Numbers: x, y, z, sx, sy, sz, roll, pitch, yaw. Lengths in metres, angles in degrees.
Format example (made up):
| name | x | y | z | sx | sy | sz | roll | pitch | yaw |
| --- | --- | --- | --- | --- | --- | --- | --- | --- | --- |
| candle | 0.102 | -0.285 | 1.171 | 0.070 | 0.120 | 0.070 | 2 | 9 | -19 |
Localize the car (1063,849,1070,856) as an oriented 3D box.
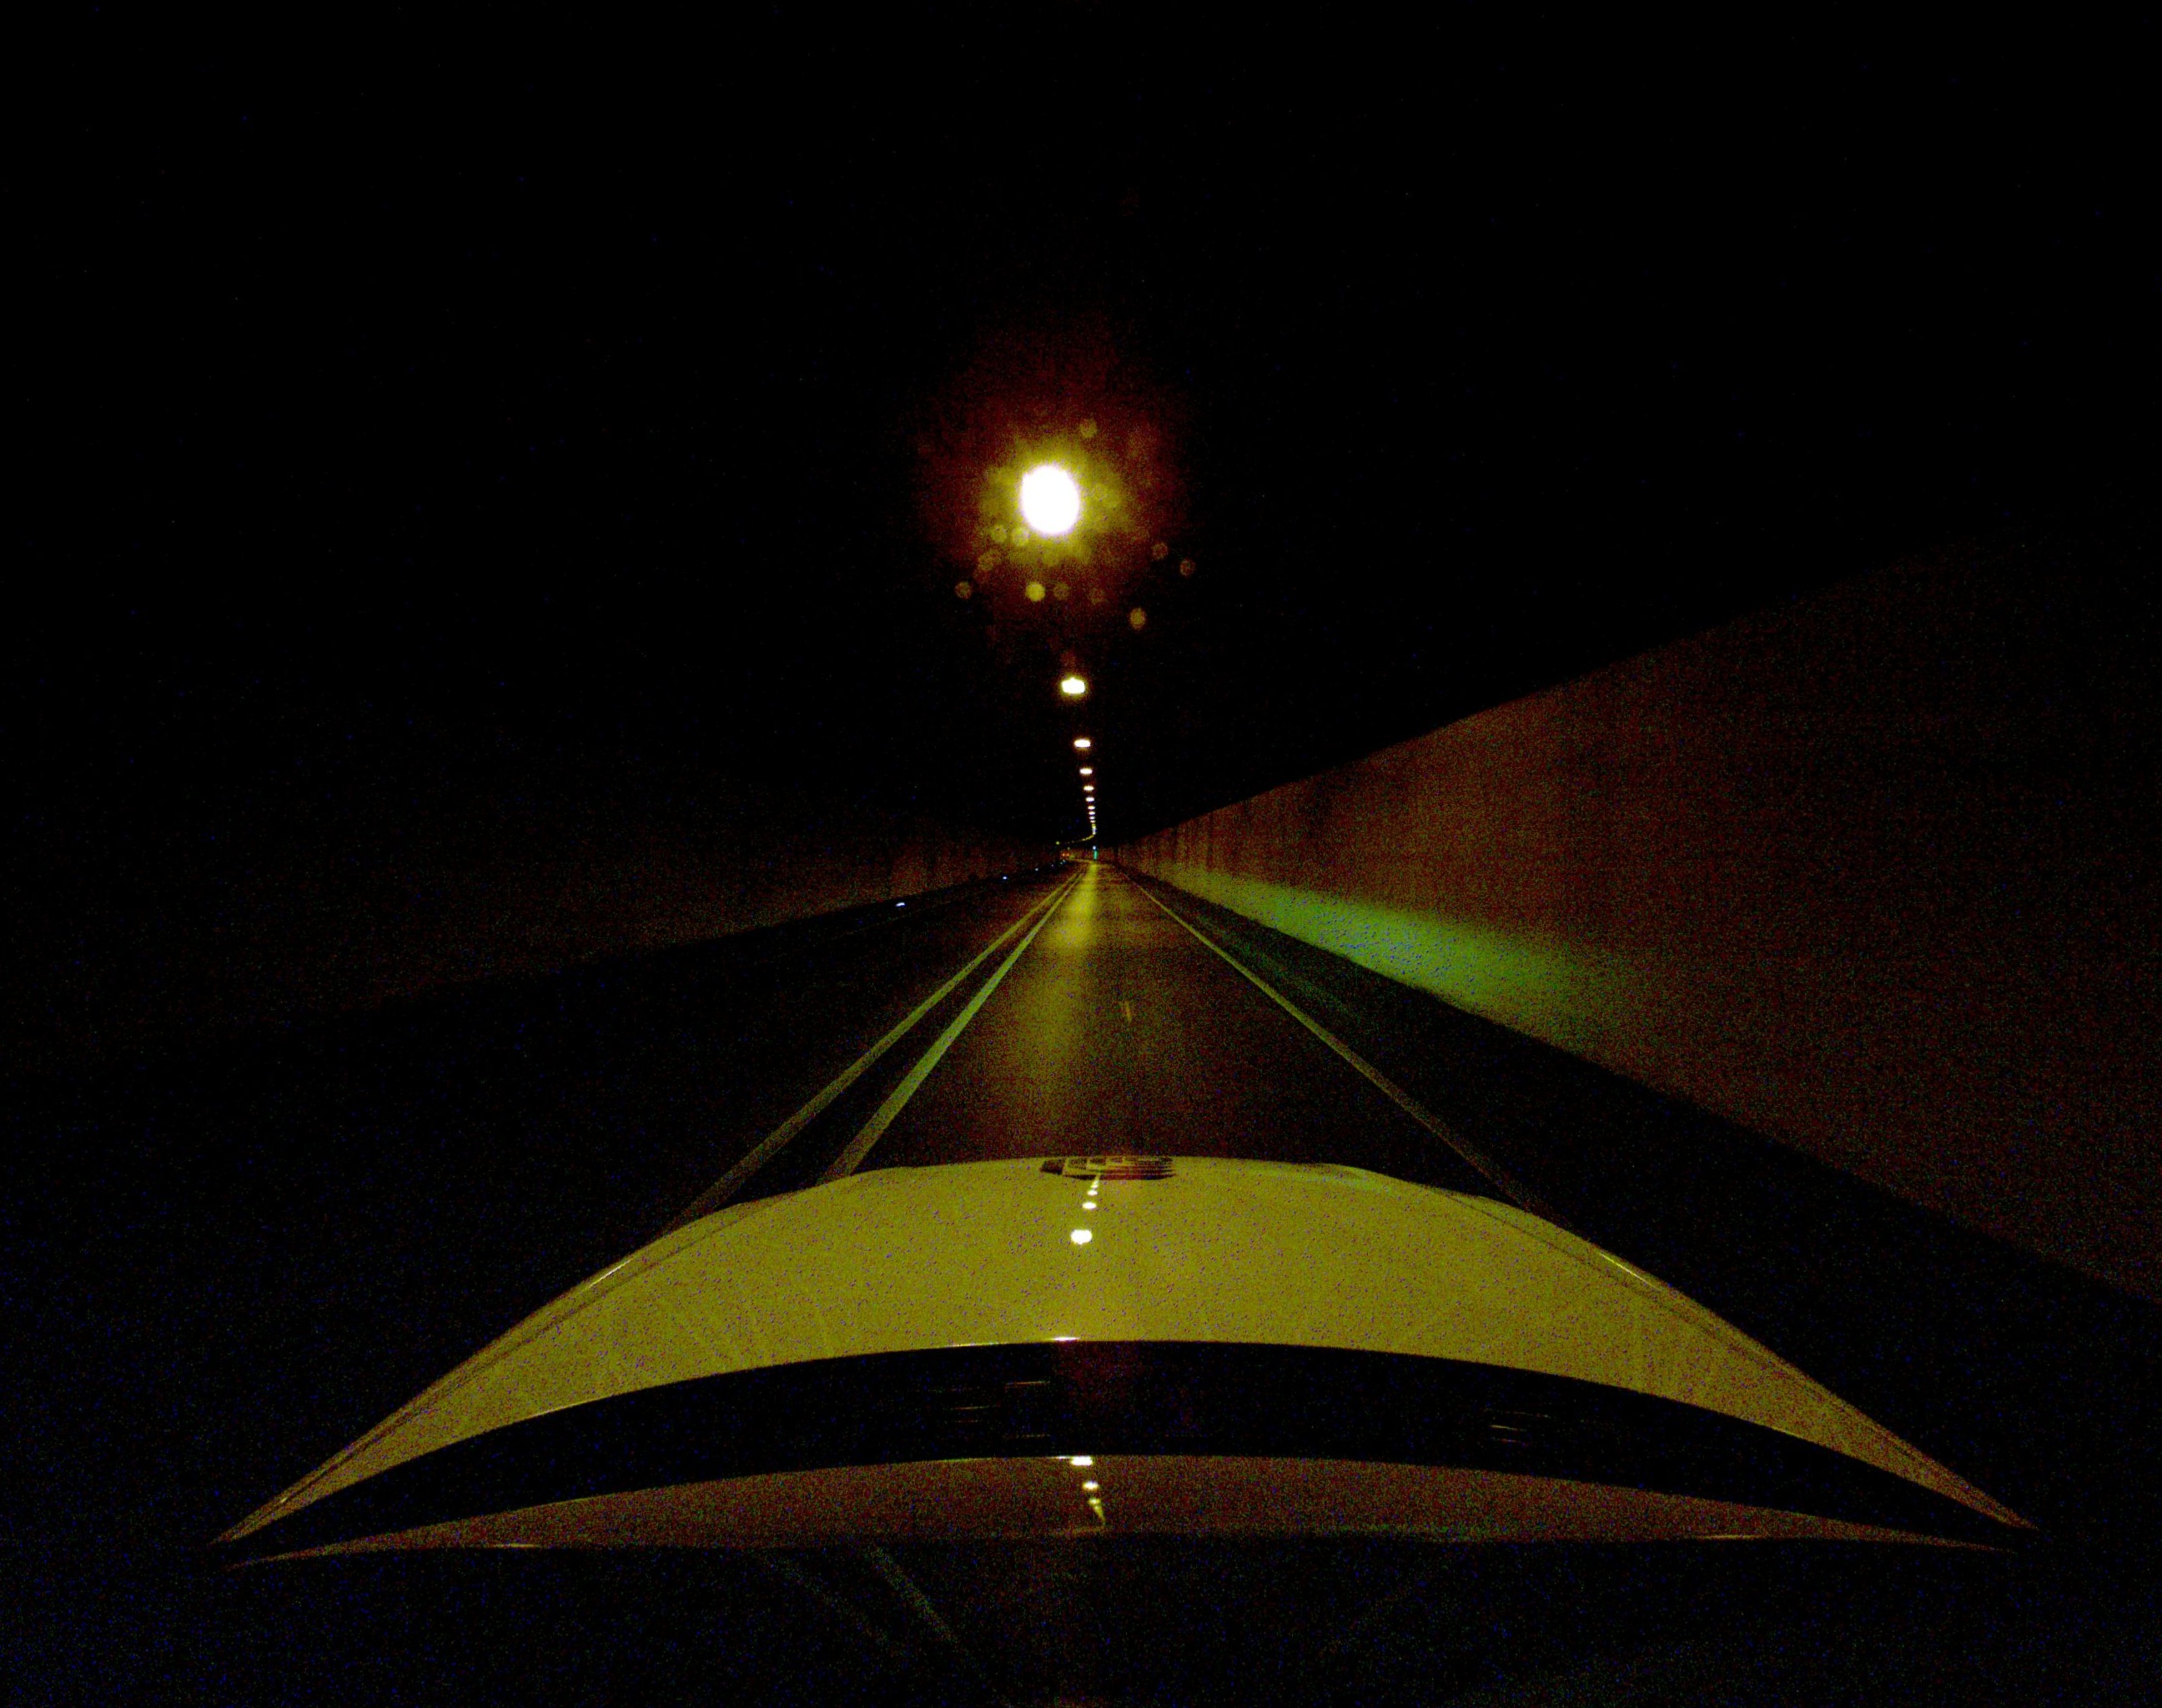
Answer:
| name | x | y | z | sx | sy | sz | roll | pitch | yaw |
| --- | --- | --- | --- | --- | --- | --- | --- | --- | --- |
| car | -4.497 | -0.471 | 251.359 | 1.964 | 1.939 | 4.603 | 0 | -1 | -5 |
